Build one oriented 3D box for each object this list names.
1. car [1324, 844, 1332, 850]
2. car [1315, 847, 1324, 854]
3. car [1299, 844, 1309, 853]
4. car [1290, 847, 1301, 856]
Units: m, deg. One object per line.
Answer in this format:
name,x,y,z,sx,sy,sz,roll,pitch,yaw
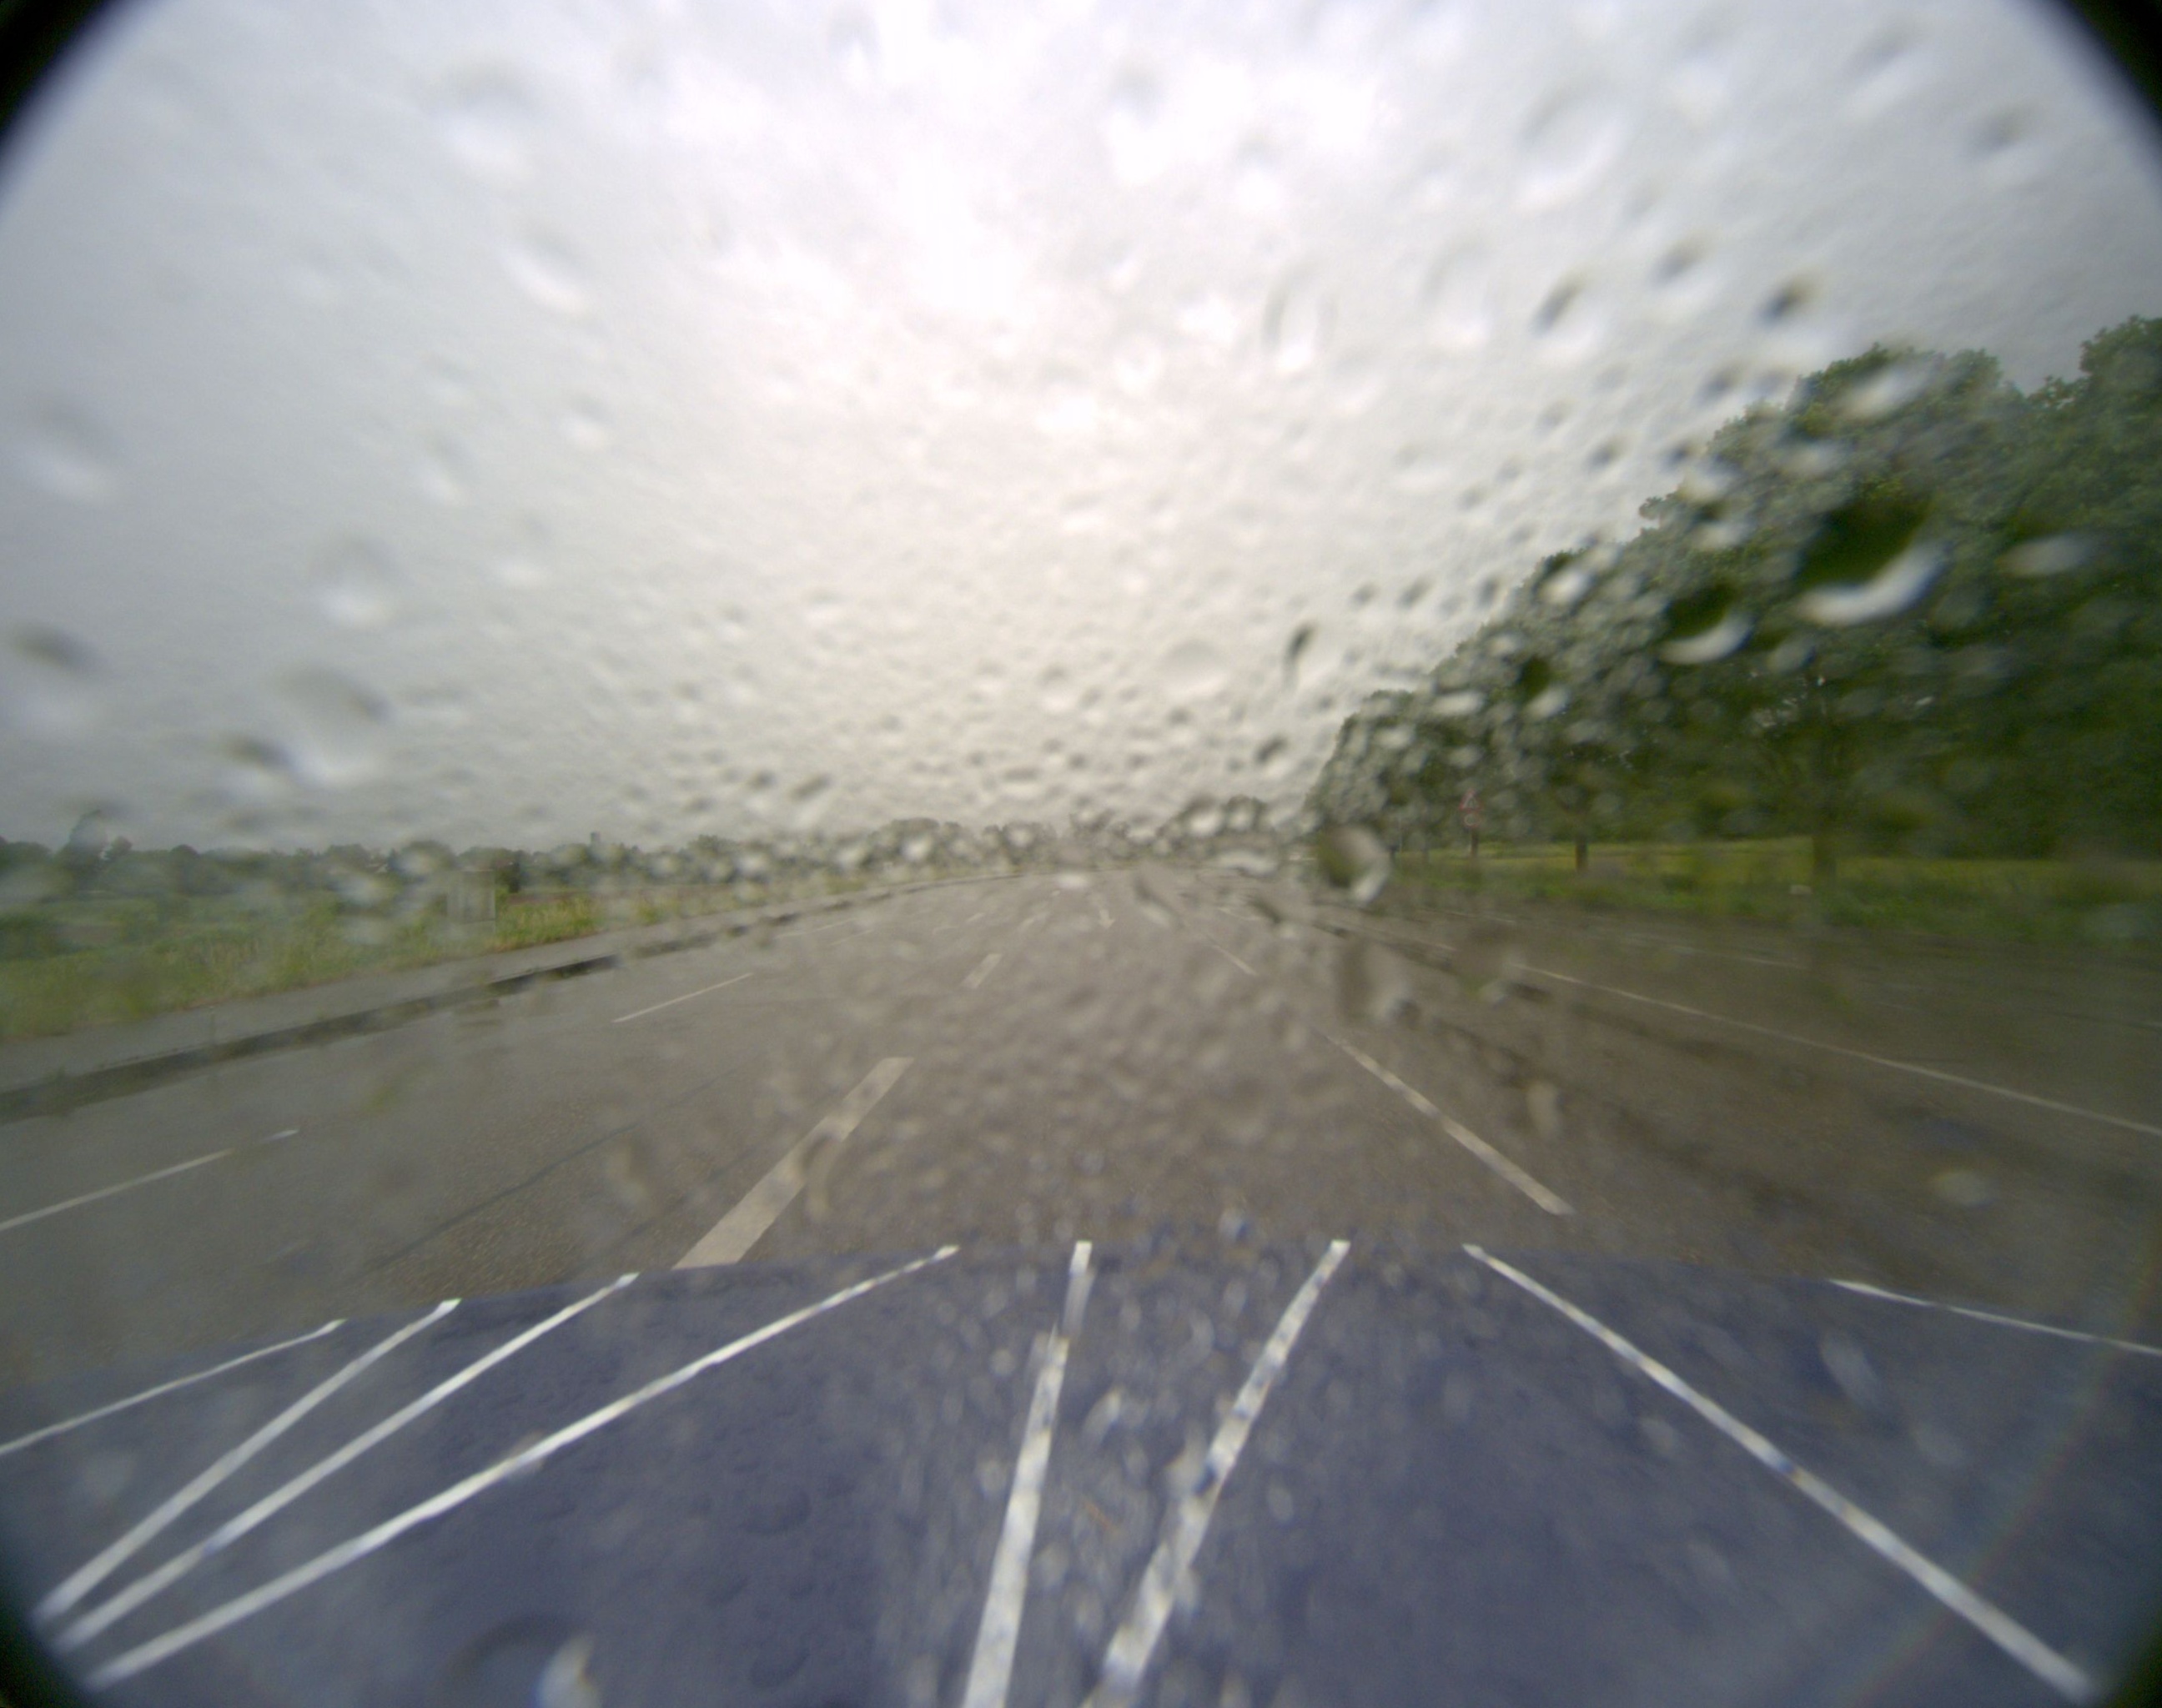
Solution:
car,63.484,-1.692,195.383,1.741,1.479,4.015,1,1,16
car,56.712,-0.750,180.438,1.887,1.578,4.123,-3,0,16
car,50.028,-1.320,170.477,1.741,1.979,4.016,1,1,20
car,39.442,-0.511,139.895,1.881,1.564,4.649,1,1,14
